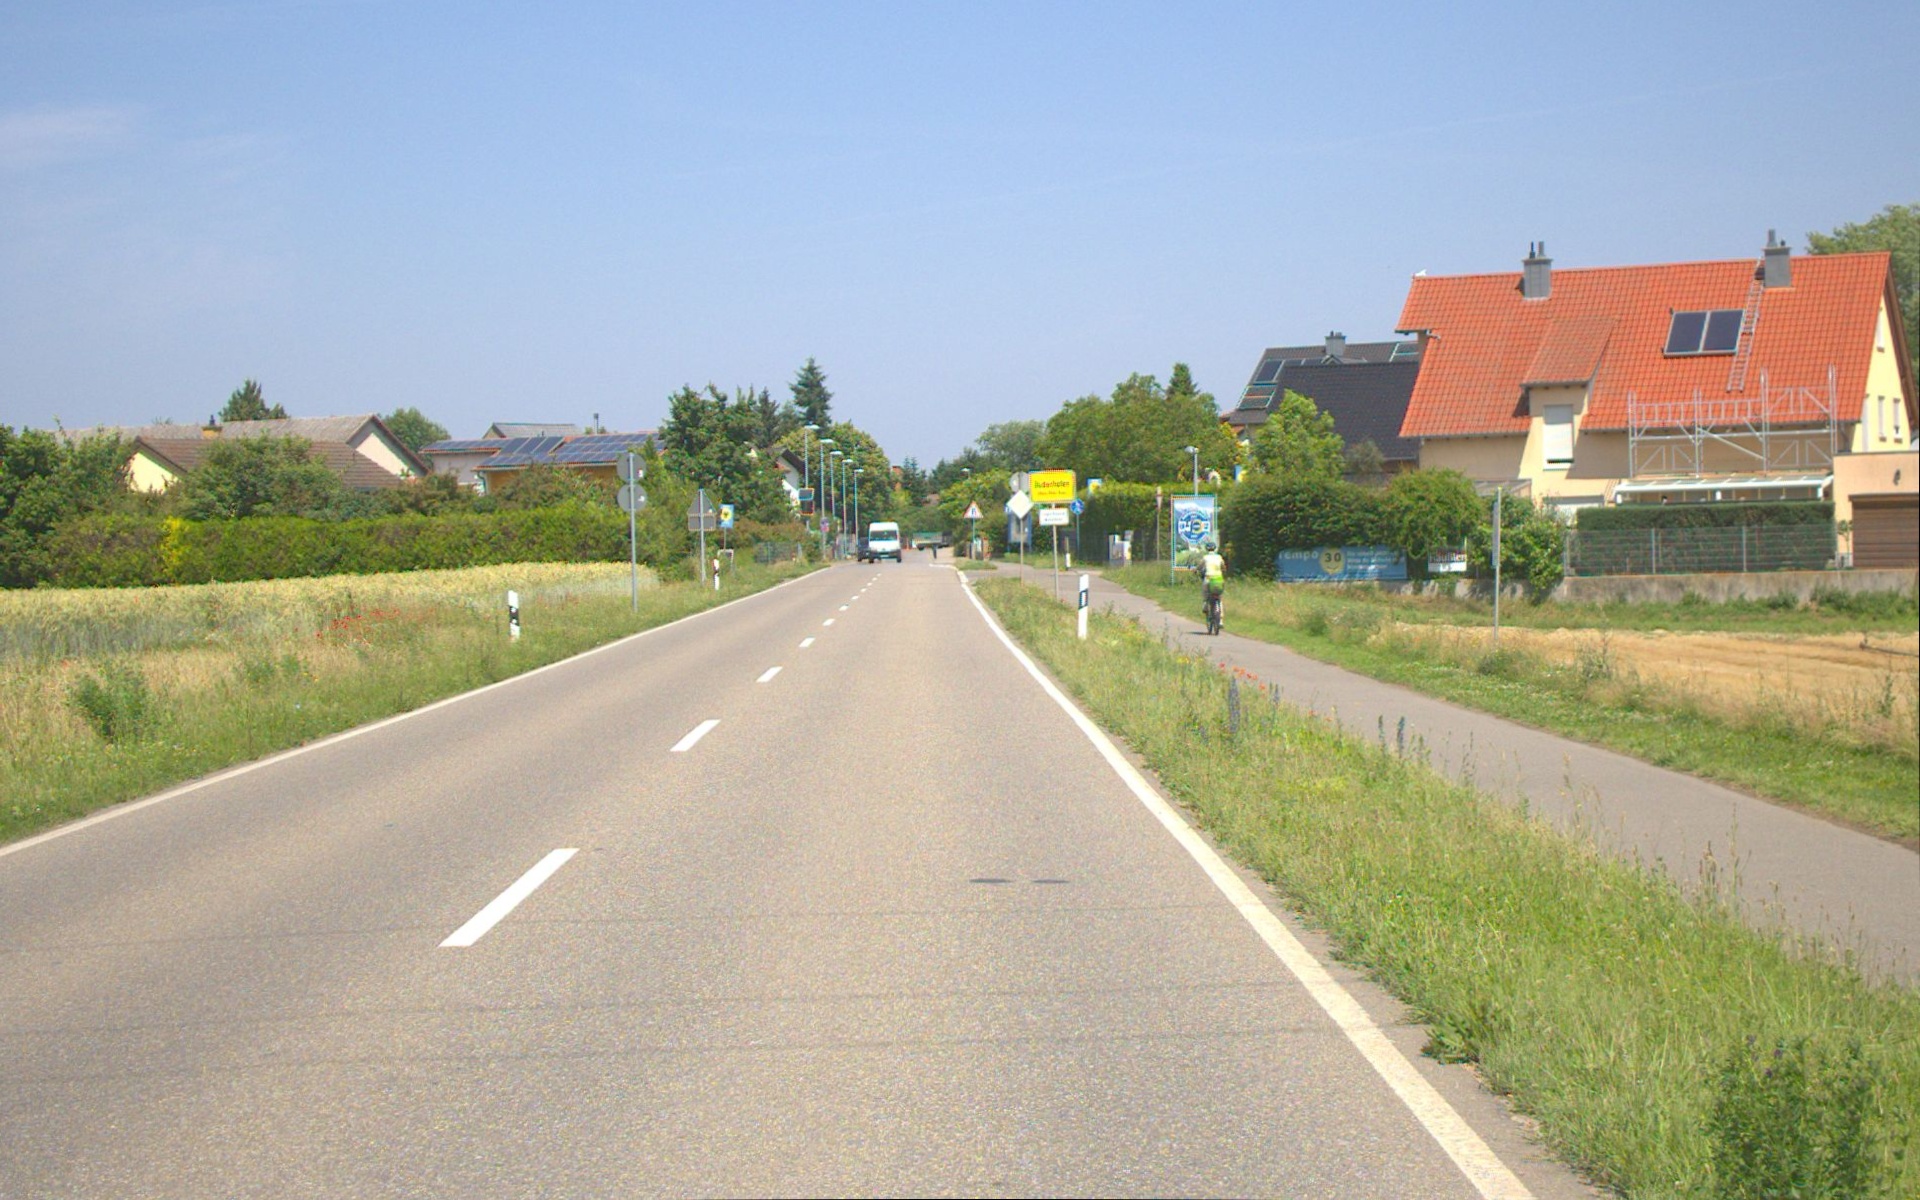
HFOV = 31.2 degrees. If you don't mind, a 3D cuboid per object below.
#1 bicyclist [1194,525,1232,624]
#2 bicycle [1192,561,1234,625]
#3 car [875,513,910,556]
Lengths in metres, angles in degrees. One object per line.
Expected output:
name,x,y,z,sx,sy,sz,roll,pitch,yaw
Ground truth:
bicyclist,4.917,-0.504,66.819,0.645,1.883,0.861,0,2,-1
bicycle,4.916,-0.143,66.872,0.610,1.155,2.274,0,2,-1
car,-4.181,-4.095,213.779,2.077,2.533,5.874,-2,2,-1
